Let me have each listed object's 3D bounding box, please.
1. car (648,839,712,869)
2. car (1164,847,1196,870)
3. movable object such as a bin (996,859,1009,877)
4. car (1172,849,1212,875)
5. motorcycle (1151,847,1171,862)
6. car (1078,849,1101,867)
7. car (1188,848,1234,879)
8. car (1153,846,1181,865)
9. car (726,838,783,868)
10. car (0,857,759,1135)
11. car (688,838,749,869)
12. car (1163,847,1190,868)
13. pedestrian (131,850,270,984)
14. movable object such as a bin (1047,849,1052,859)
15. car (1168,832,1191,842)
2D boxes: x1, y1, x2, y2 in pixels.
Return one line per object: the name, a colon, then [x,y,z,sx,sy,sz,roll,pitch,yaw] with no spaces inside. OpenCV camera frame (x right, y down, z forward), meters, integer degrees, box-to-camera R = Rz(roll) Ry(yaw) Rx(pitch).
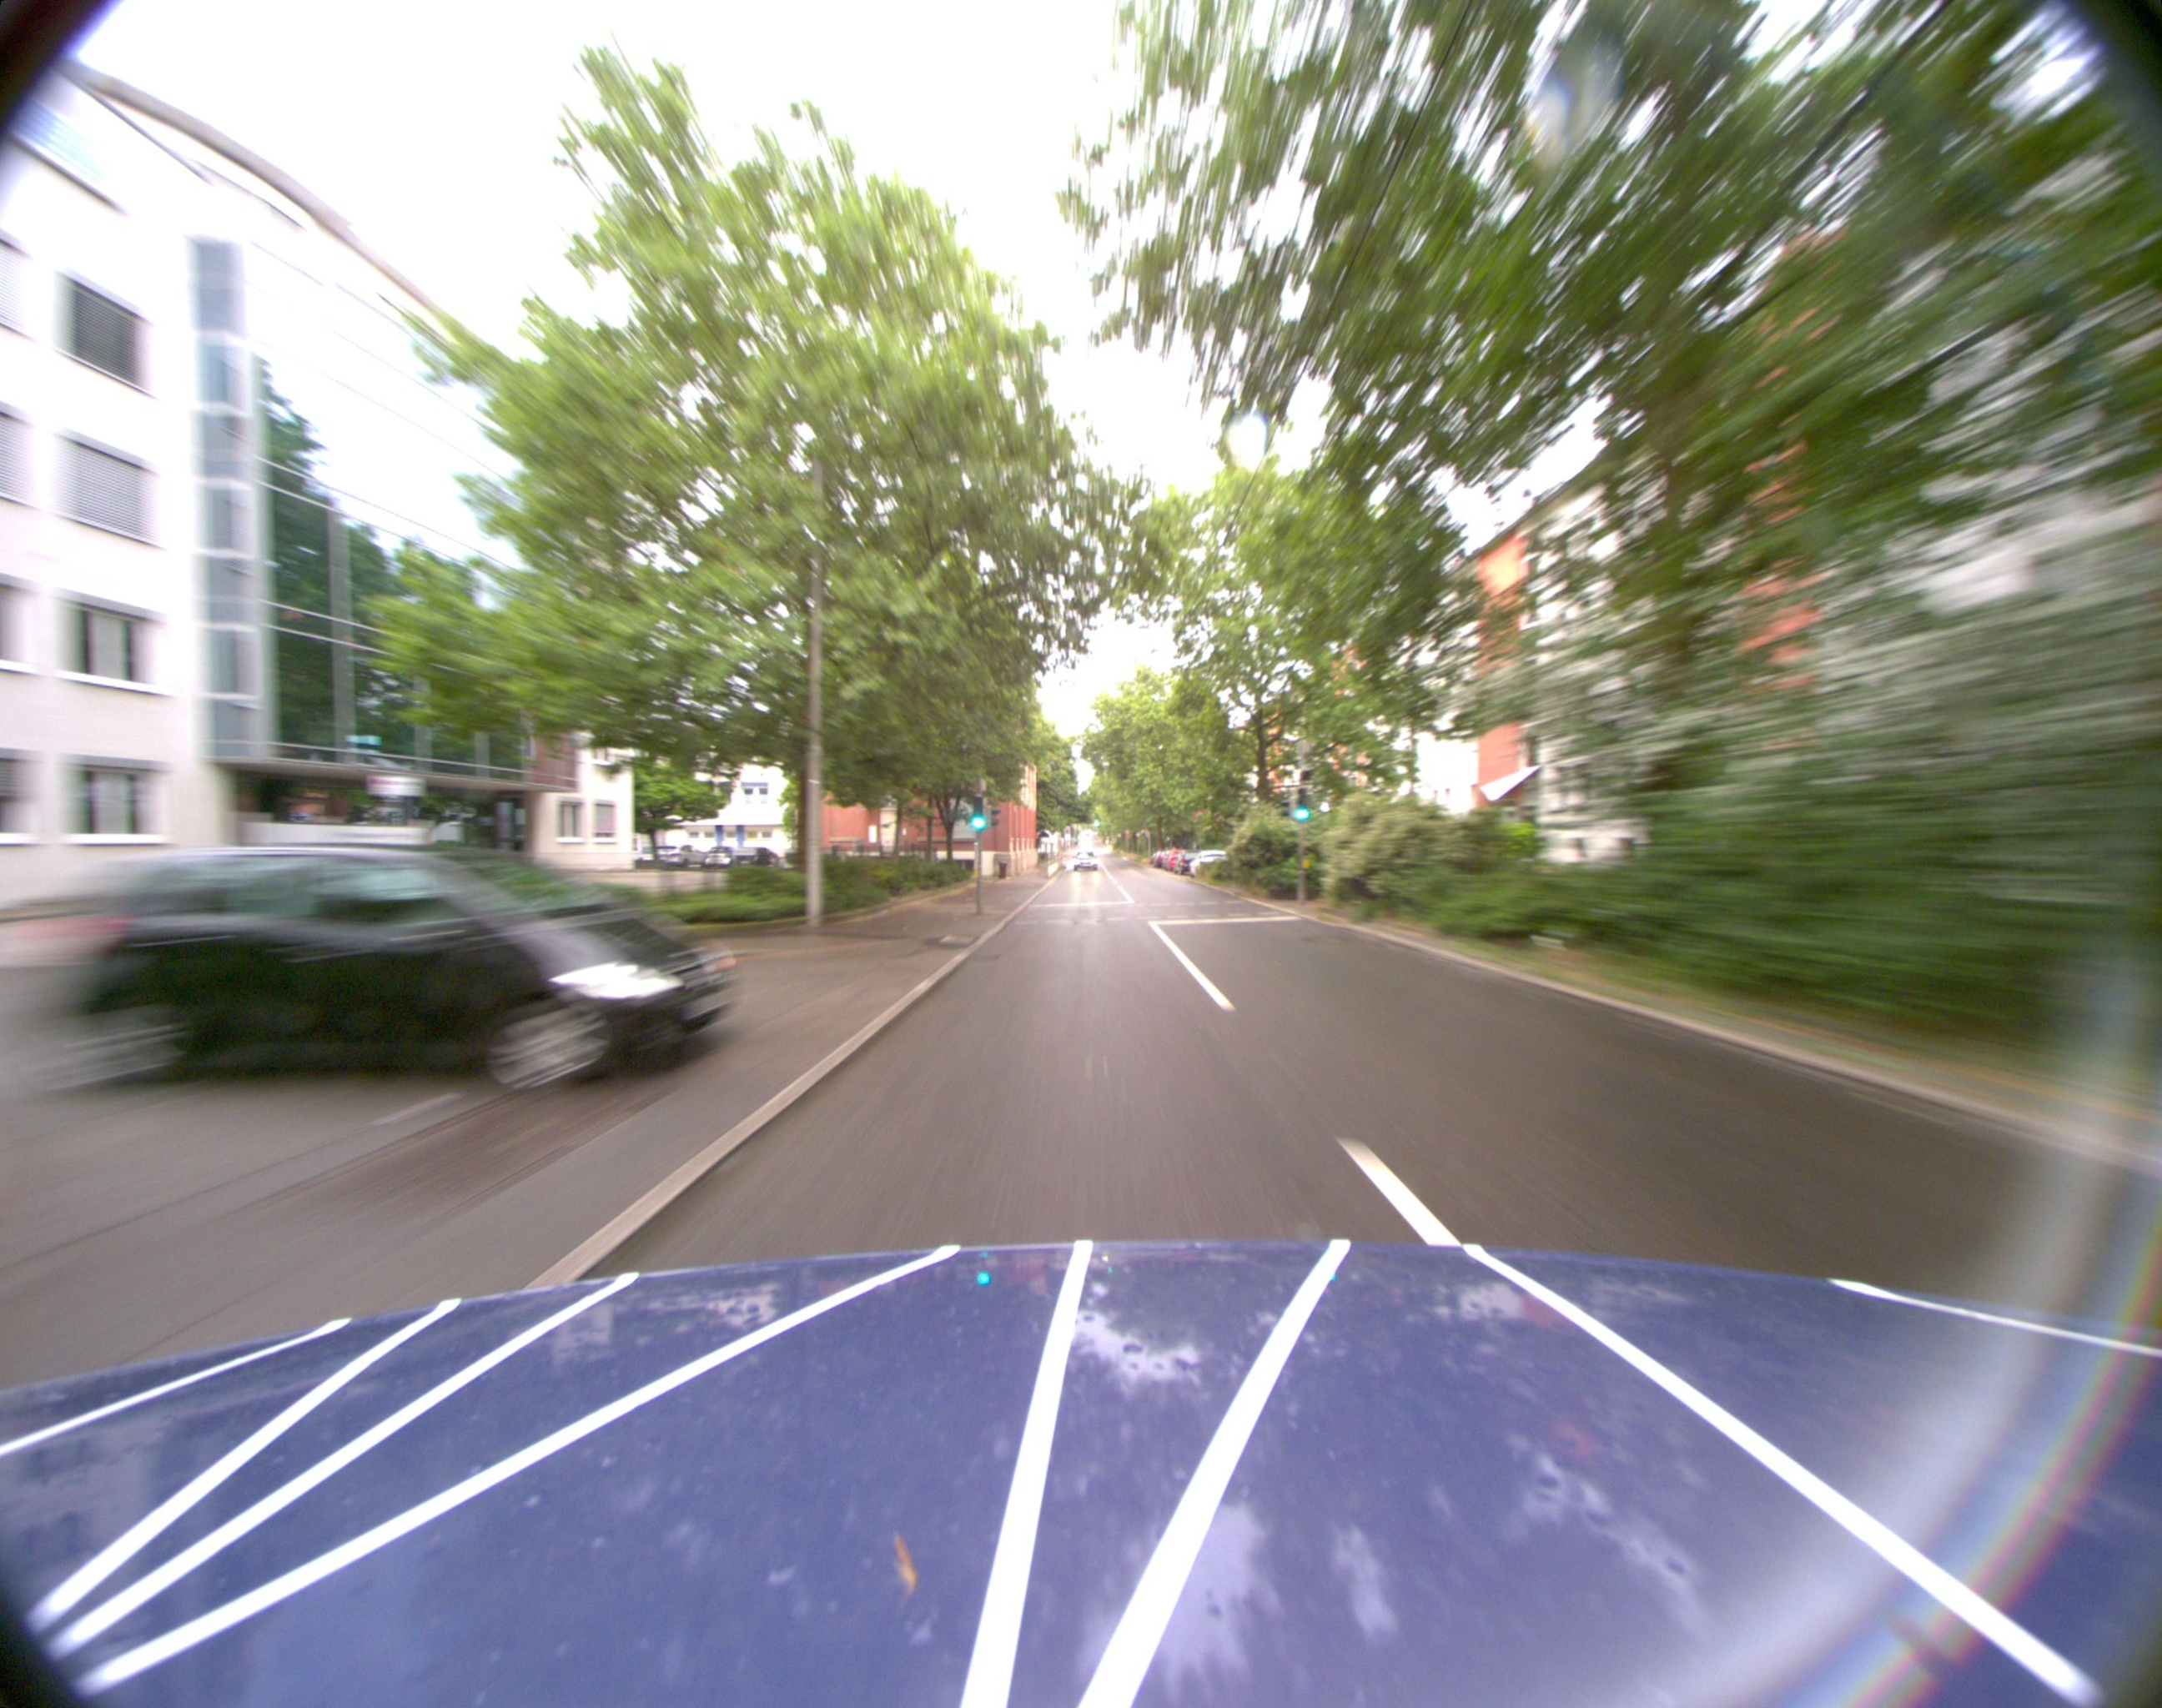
car: [-26.314,-0.035,50.058,1.913,1.808,3.996,-2,2,1]
car: [6.846,0.291,52.790,1.721,1.459,3.755,-1,1,-1]
movable object such as a bin: [-4.304,0.754,41.679,0.592,0.927,0.572,1,1,0]
car: [6.680,0.444,45.922,1.721,1.459,4.232,-1,1,-1]
motorcycle: [7.177,0.037,68.217,1.717,1.332,0.722,0,2,1]
car: [0.629,0.294,59.334,1.692,1.334,3.998,0,1,-2]
car: [6.716,0.471,39.647,1.721,1.459,4.309,-1,1,1]
car: [7.092,0.102,63.148,1.721,1.501,4.803,-1,1,-1]
car: [-21.514,-0.089,50.267,1.913,1.808,3.996,-2,2,1]
car: [-4.646,0.846,5.431,3.860,1.538,2.025,1,1,-5]
car: [-23.807,-0.074,50.088,1.913,1.808,3.996,-2,2,1]
car: [7.257,0.239,58.055,1.559,1.459,3.396,-1,1,-1]
pedestrian: [-10.932,0.754,9.463,0.920,1.607,0.702,0,1,4]
movable object such as a bin: [-3.379,-0.019,81.776,0.506,1.109,0.618,0,2,1]
car: [17.114,-2.966,132.192,3.802,1.679,1.737,-2,2,-2]
